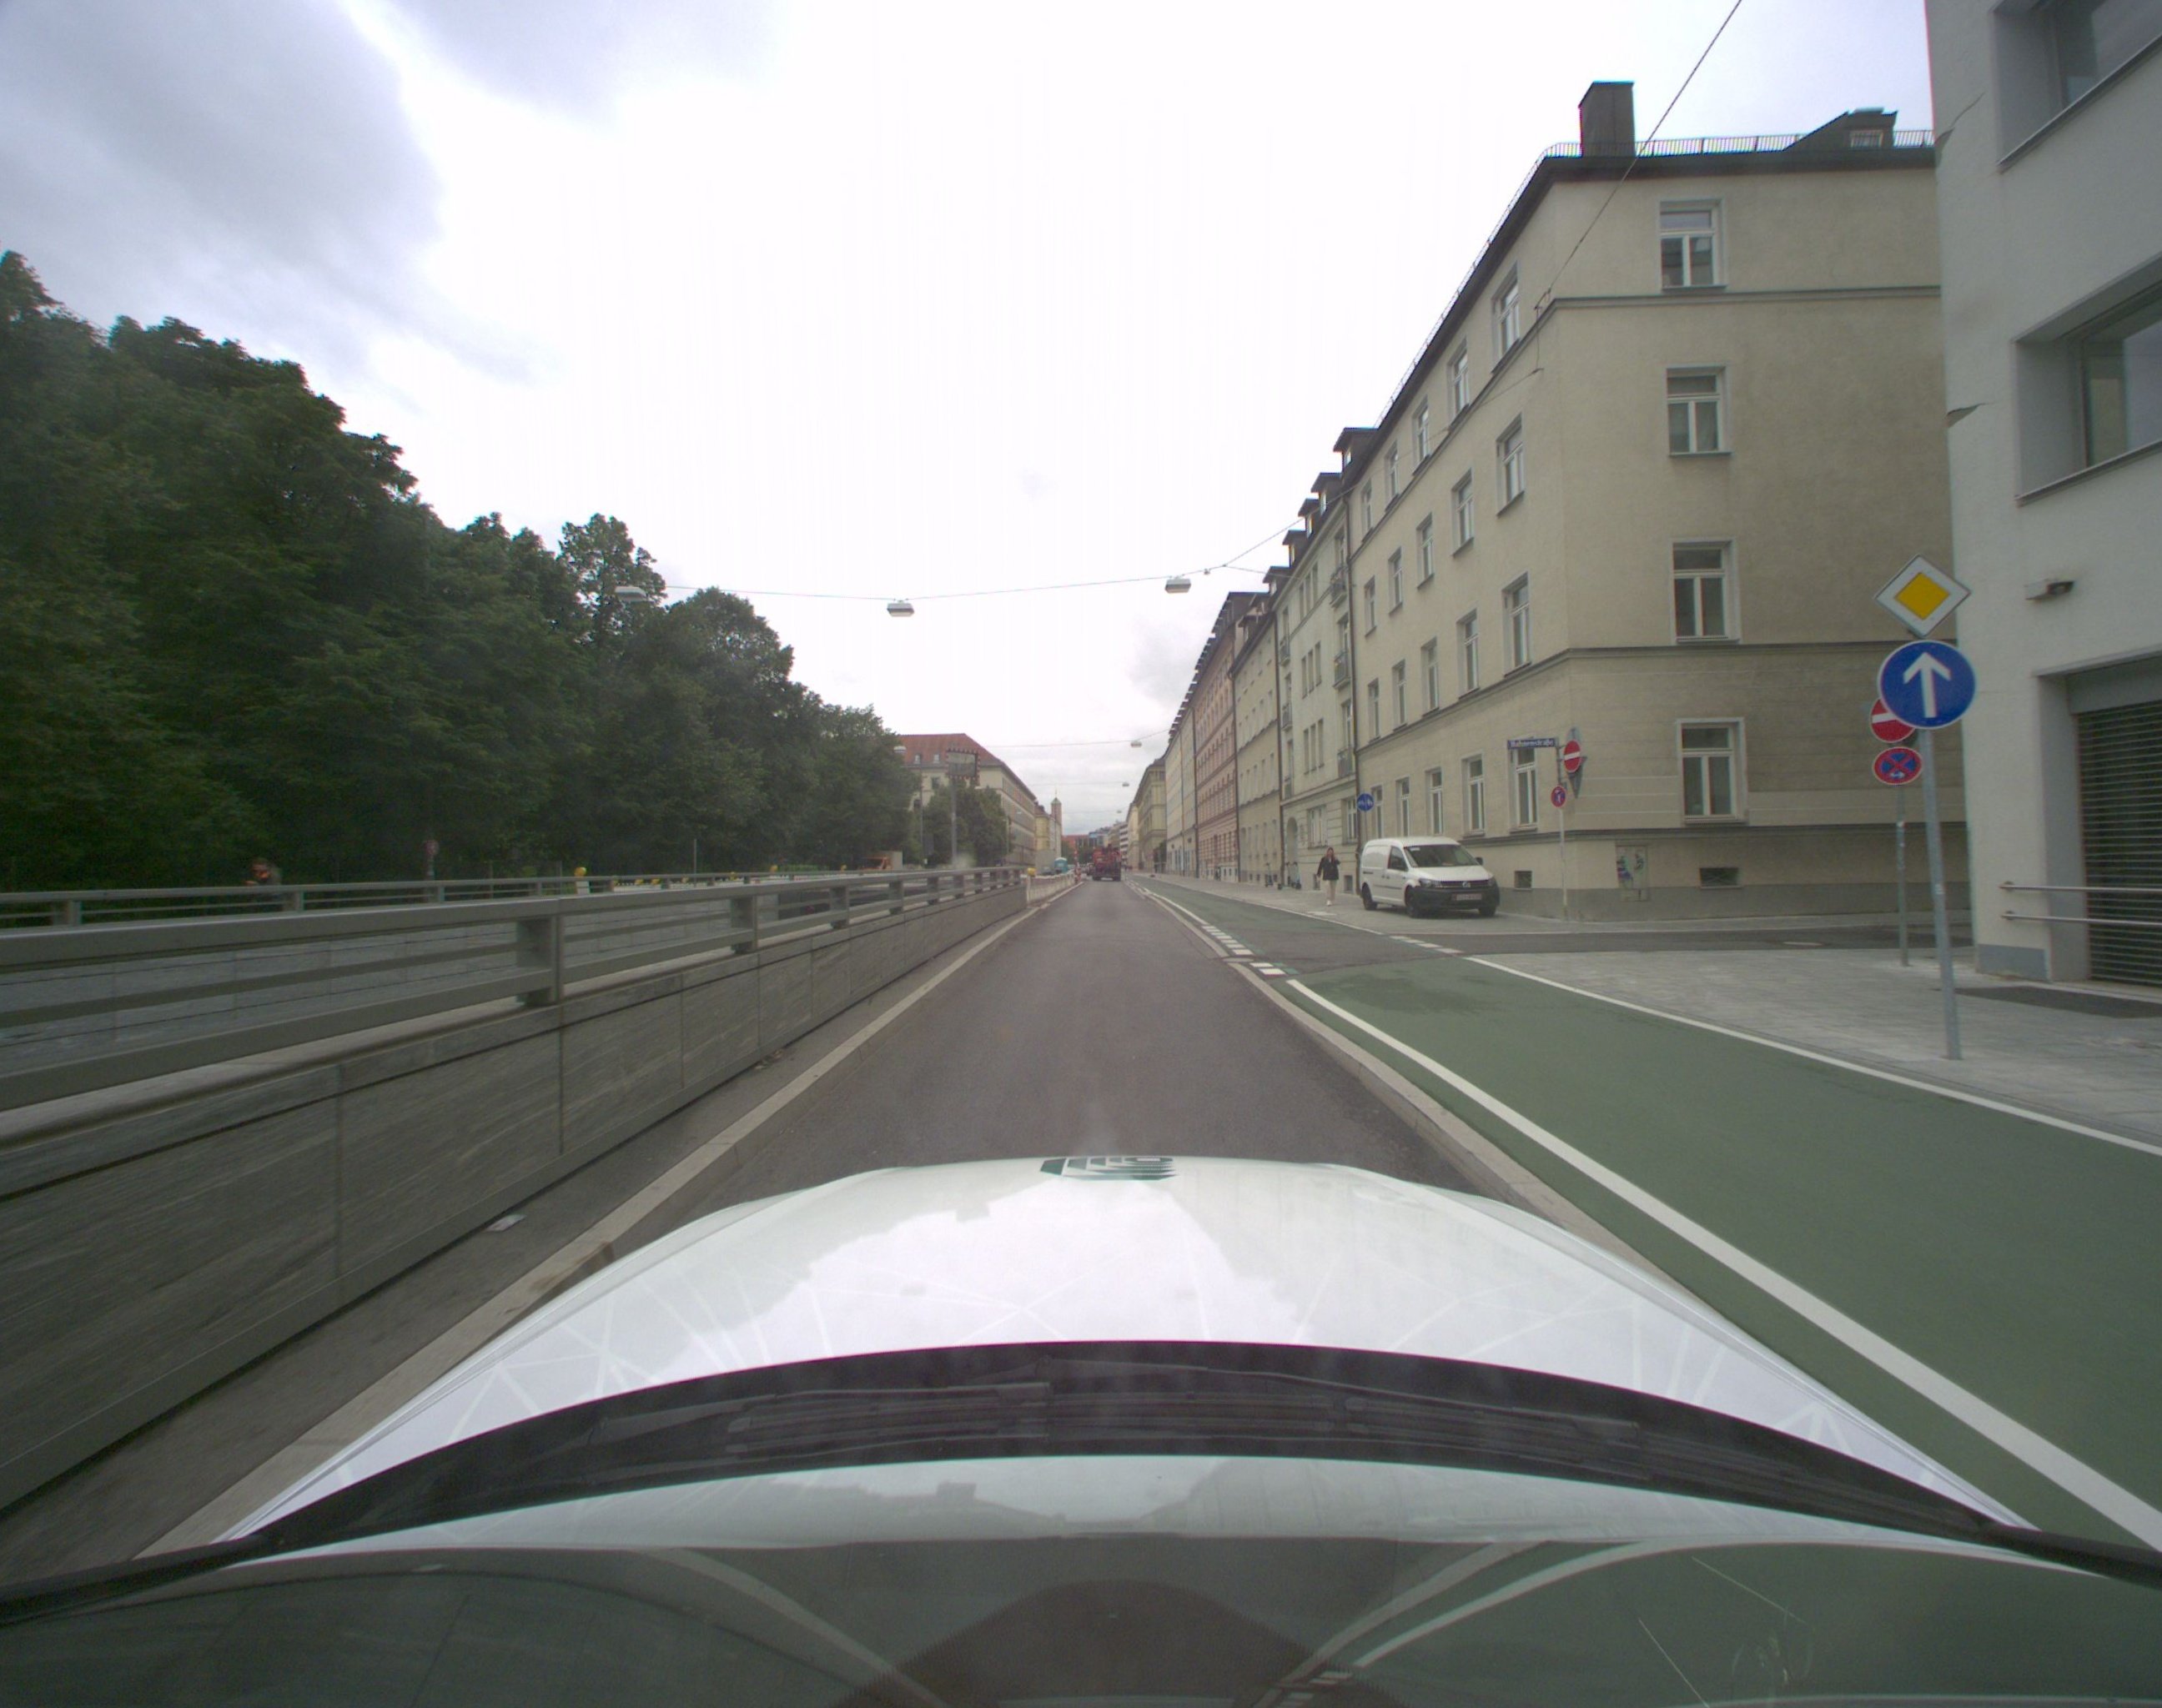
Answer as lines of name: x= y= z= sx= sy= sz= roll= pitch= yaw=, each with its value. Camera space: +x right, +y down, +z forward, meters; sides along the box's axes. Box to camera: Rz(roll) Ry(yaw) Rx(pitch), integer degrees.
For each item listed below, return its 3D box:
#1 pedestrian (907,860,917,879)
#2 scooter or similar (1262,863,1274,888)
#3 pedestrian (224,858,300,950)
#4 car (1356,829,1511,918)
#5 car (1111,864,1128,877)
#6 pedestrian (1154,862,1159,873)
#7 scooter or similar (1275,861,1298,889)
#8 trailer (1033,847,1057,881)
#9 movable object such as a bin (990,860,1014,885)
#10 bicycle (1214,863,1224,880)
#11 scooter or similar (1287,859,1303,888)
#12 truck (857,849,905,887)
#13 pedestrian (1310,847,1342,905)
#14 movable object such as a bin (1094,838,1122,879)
pedestrian: x=-13.686 y=1.253 z=66.023 sx=0.660 sy=1.603 sz=0.698 roll=0 pitch=-1 yaw=2
scooter or similar: x=9.544 y=1.110 z=41.567 sx=0.244 sy=1.231 sz=1.126 roll=-4 pitch=-2 yaw=27
pedestrian: x=-14.986 y=0.893 z=14.924 sx=0.660 sy=1.641 sz=0.698 roll=0 pitch=-1 yaw=2
car: x=7.902 y=0.416 z=18.768 sx=1.727 sy=1.750 sz=4.437 roll=-2 pitch=-1 yaw=2
car: x=4.687 y=2.017 z=99.494 sx=1.795 sy=1.480 sz=4.687 roll=-2 pitch=-1 yaw=1
pedestrian: x=12.275 y=2.229 z=132.749 sx=0.787 sy=1.836 sz=0.777 roll=-1 pitch=-1 yaw=2
scooter or similar: x=9.325 y=0.955 z=37.011 sx=1.123 sy=1.231 sz=0.244 roll=-2 pitch=-2 yaw=-32
trailer: x=-3.673 y=1.015 z=82.829 sx=2.222 sy=3.244 sz=7.509 roll=-1 pitch=-1 yaw=-3
movable object such as a bin: x=-8.427 y=1.935 z=86.859 sx=1.916 sy=2.572 sz=4.495 roll=0 pitch=-1 yaw=3
bicycle: x=10.284 y=1.293 z=60.567 sx=0.422 sy=1.174 sz=1.739 roll=-2 pitch=-1 yaw=19
scooter or similar: x=9.421 y=0.857 z=35.881 sx=0.385 sy=1.273 sz=1.119 roll=-3 pitch=-2 yaw=1
truck: x=-15.067 y=1.017 z=61.689 sx=1.986 sy=2.729 sz=5.873 roll=-1 pitch=-1 yaw=2
pedestrian: x=7.069 y=0.635 z=23.532 sx=0.662 sy=1.636 sz=0.737 roll=-2 pitch=-1 yaw=1
movable object such as a bin: x=2.482 y=0.465 z=76.093 sx=2.415 sy=3.612 sz=5.851 roll=-1 pitch=-1 yaw=0
